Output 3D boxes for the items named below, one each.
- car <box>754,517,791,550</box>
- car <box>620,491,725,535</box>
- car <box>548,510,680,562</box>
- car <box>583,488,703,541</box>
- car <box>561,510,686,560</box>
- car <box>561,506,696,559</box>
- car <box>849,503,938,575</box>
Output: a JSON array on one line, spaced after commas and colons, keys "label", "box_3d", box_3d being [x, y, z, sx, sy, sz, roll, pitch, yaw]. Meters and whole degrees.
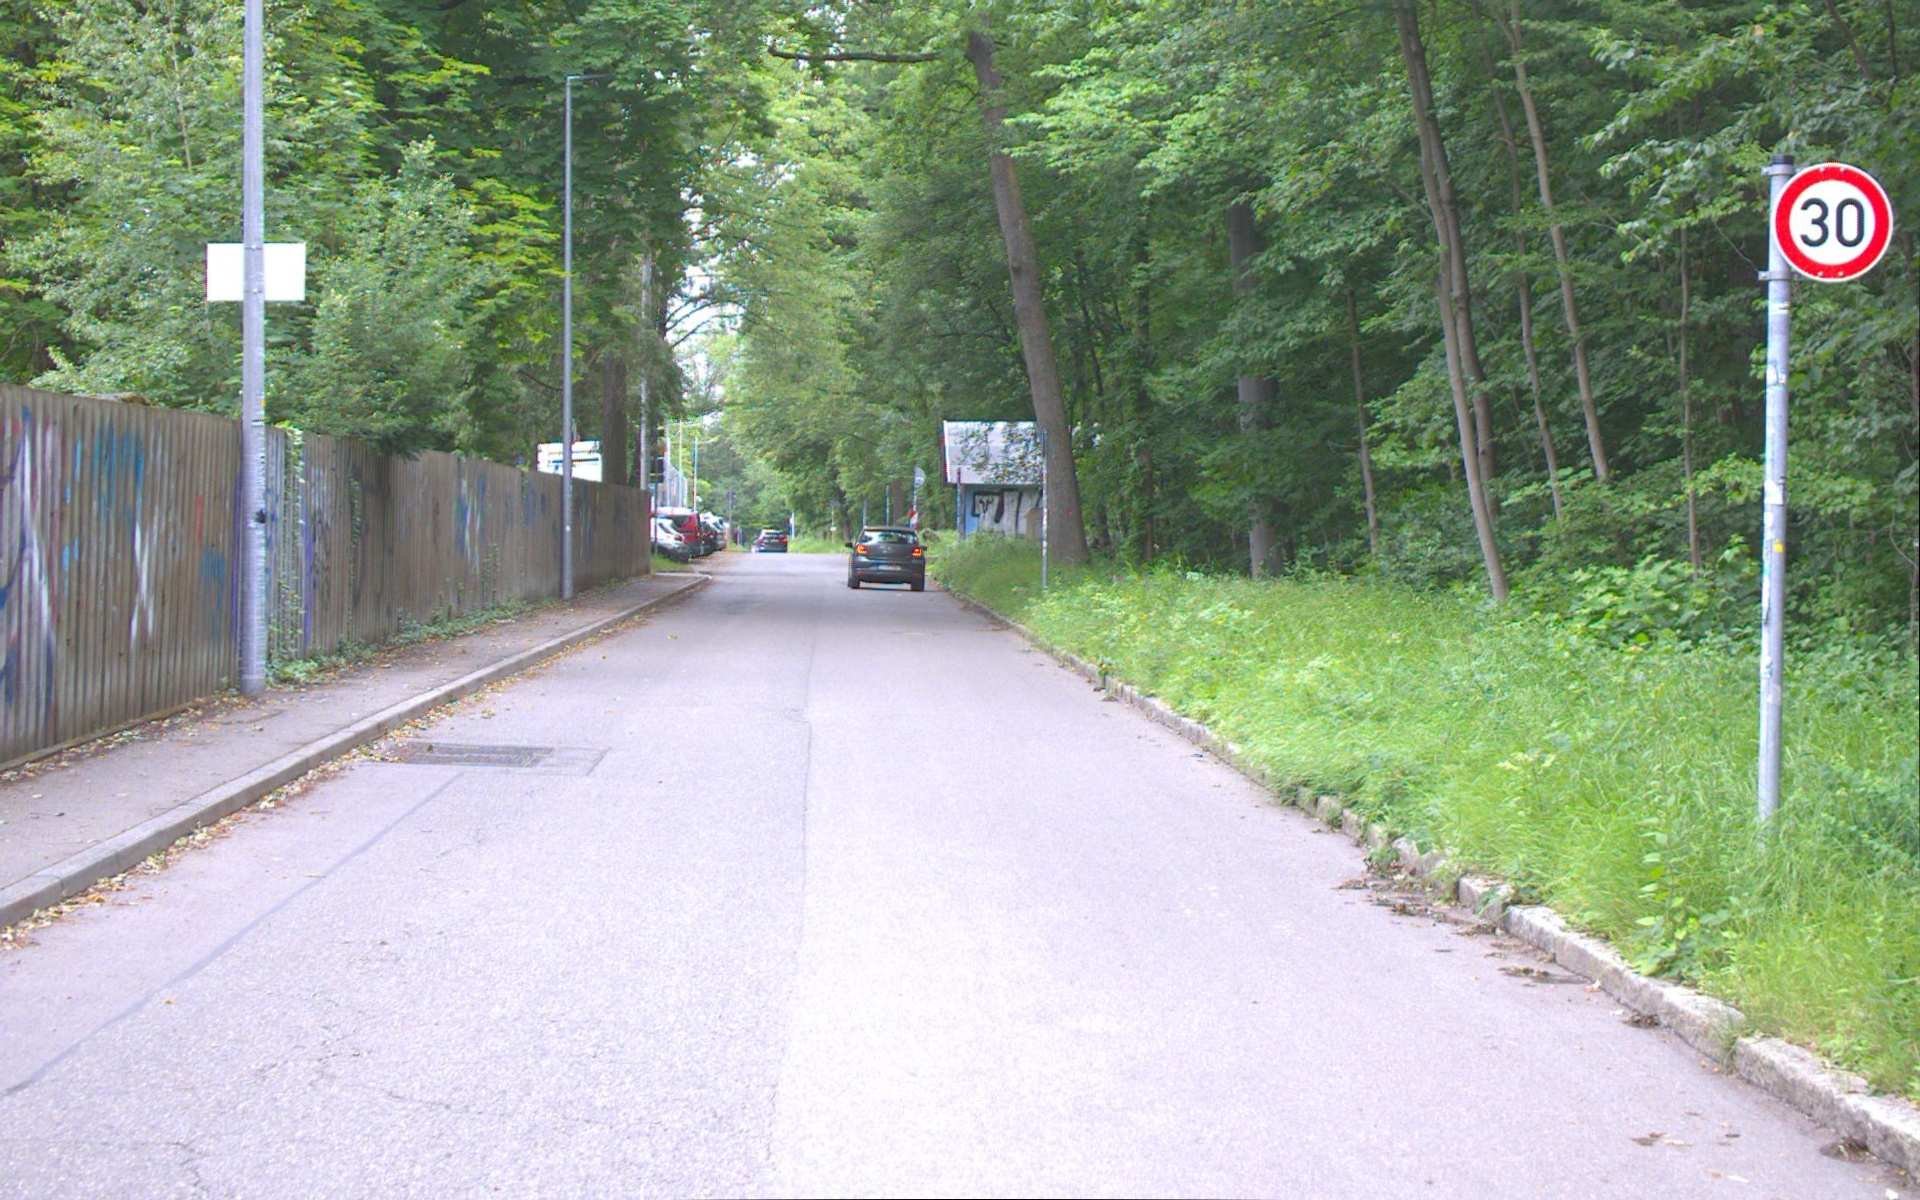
[{"label": "car", "box_3d": [-11.691, -4.141, 214.060, 1.993, 2.007, 4.001, 0, 1, -8]}, {"label": "car", "box_3d": [-11.252, -3.406, 134.837, 3.986, 1.590, 1.765, -1, 1, -2]}, {"label": "car", "box_3d": [-10.588, -1.962, 105.249, 3.986, 1.568, 2.001, 0, 1, -6]}, {"label": "car", "box_3d": [-10.670, -2.890, 115.794, 3.986, 1.744, 2.000, 0, 1, -6]}, {"label": "car", "box_3d": [-10.850, -2.108, 110.869, 3.986, 1.568, 2.000, 0, 1, -6]}, {"label": "car", "box_3d": [-9.918, -2.026, 102.938, 3.986, 1.568, 2.001, 0, 1, -6]}, {"label": "car", "box_3d": [-1.518, -1.373, 78.353, 1.908, 1.503, 4.000, 3, 1, -1]}]
